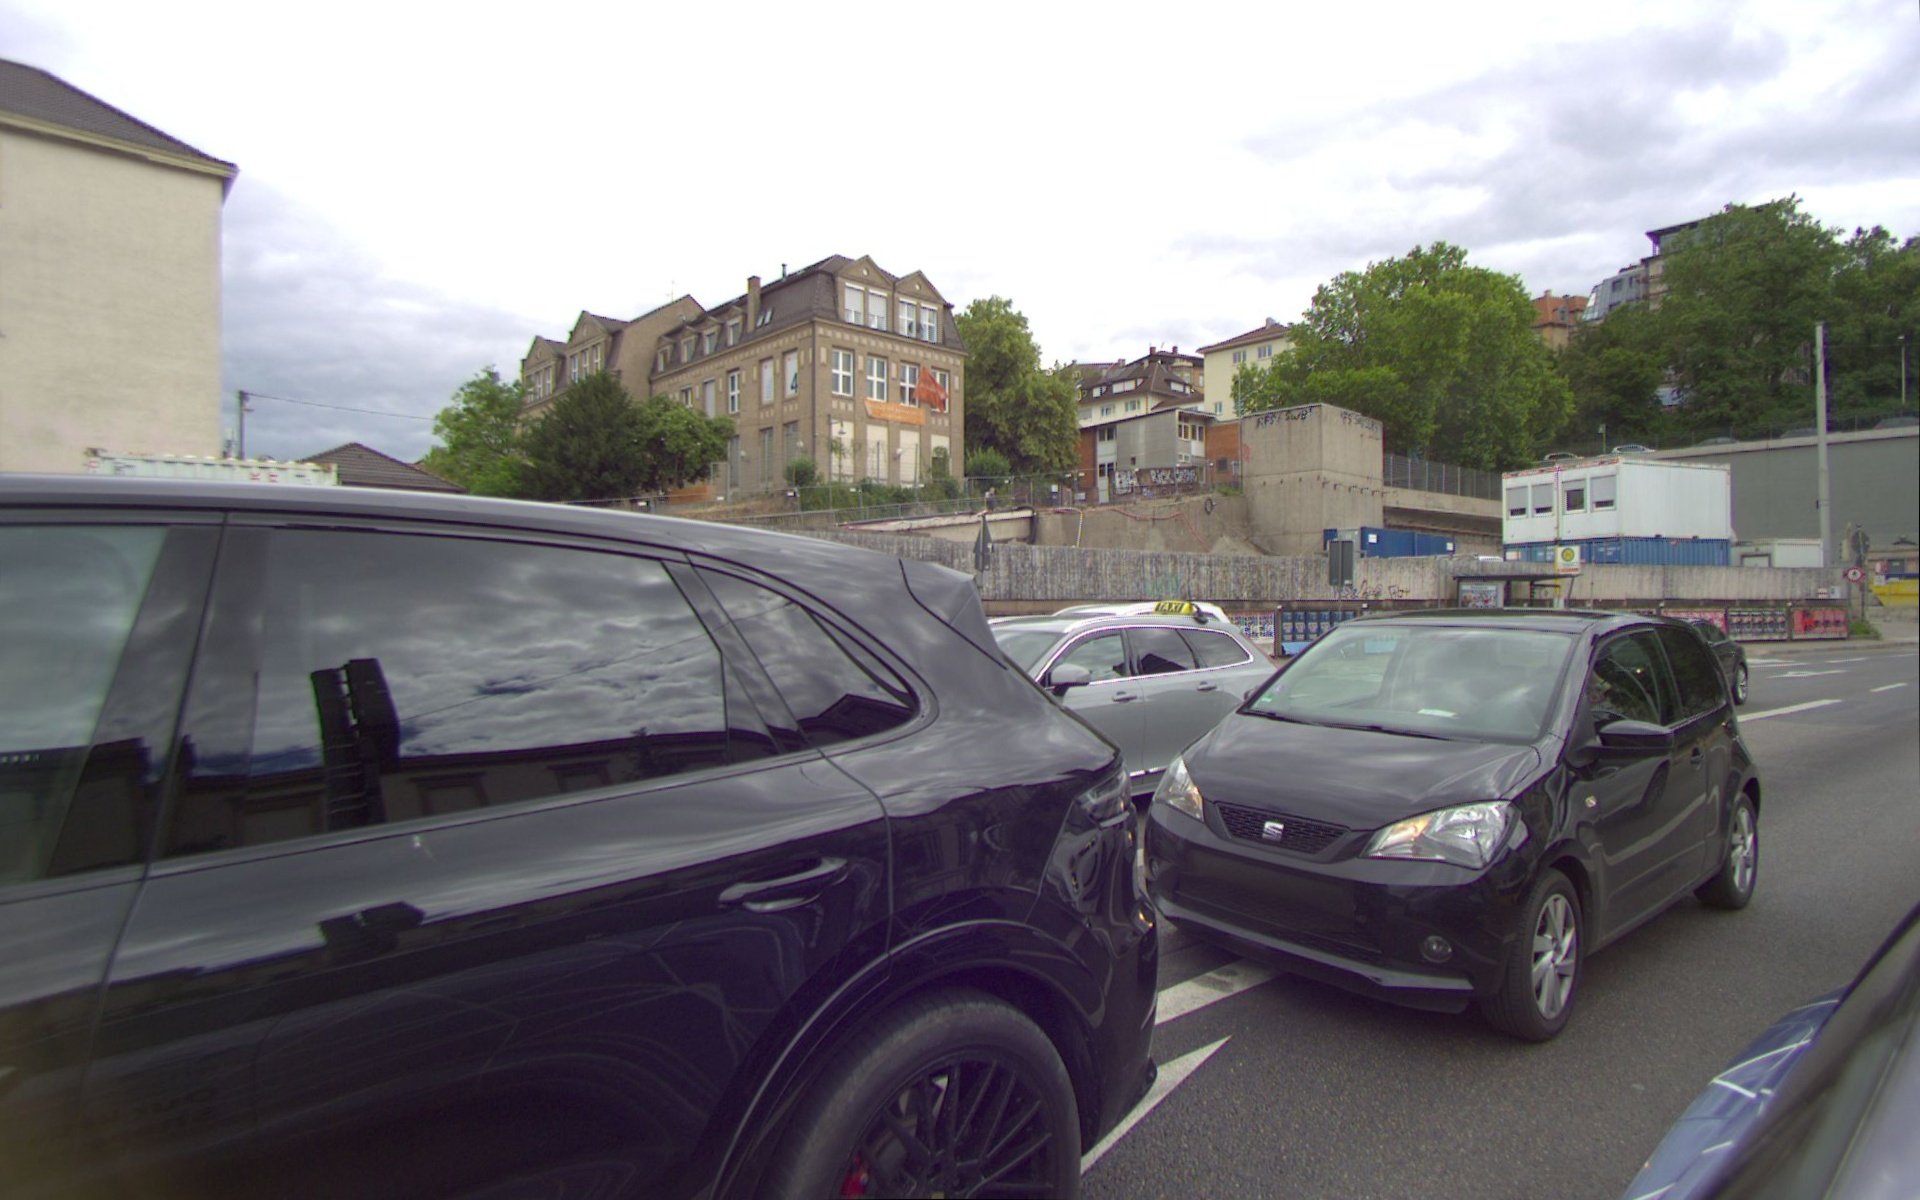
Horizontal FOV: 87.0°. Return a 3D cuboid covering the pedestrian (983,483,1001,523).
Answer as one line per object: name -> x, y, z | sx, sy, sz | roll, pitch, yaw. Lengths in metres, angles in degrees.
pedestrian -> 1.694, -5.124, 53.446 | 0.656, 2.039, 0.644 | 0, 0, -45

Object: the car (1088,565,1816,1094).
car -> 2.523, 0.663, 4.776 | 3.812, 1.515, 1.667 | 0, -1, -40

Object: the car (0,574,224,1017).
car -> -4.887, 0.696, 3.410 | 3.812, 1.563, 1.667 | 0, -1, -40

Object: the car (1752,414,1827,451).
car -> 60.624, -12.205, 73.997 | 1.966, 2.039, 3.991 | 0, 1, -43

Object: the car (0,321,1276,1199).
car -> -1.626, 0.587, 1.691 | 4.552, 1.707, 1.959 | 0, -1, -40

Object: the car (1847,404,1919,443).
car -> 64.162, -12.176, 70.029 | 1.966, 2.039, 3.991 | 0, 1, -43

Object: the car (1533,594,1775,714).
car -> 10.690, 0.718, 15.473 | 4.466, 1.579, 1.705 | 0, 0, -37

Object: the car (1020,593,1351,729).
car -> 3.143, 0.715, 13.805 | 4.460, 1.579, 1.707 | 0, 0, -31

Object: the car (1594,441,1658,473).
car -> 53.575, -11.491, 81.421 | 3.988, 2.039, 1.968 | 0, 1, 45

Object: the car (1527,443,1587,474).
car -> 50.260, -11.898, 85.211 | 3.988, 2.039, 1.968 | 0, 1, 45

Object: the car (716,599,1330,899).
car -> 0.688, 0.802, 7.597 | 4.570, 1.591, 1.826 | 0, 0, -39
